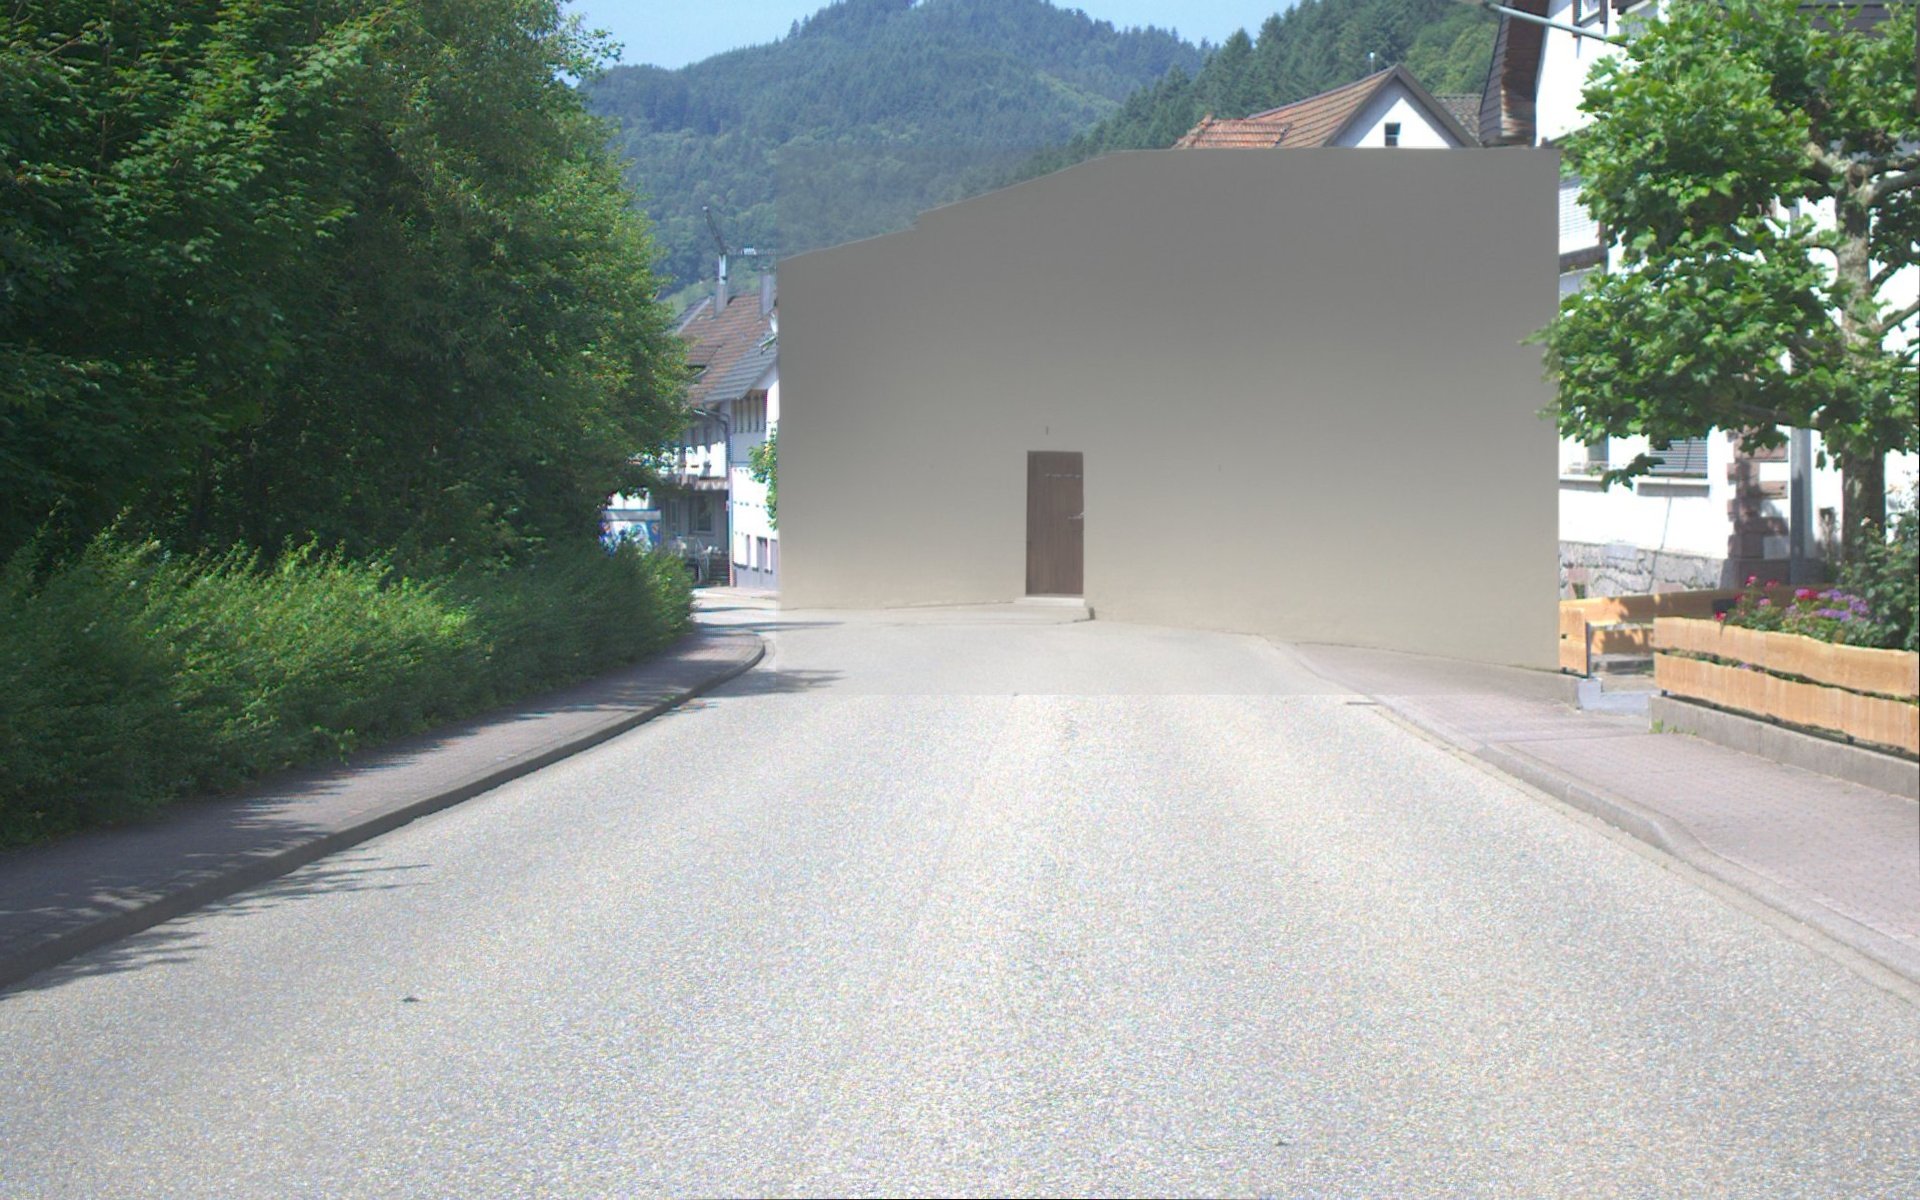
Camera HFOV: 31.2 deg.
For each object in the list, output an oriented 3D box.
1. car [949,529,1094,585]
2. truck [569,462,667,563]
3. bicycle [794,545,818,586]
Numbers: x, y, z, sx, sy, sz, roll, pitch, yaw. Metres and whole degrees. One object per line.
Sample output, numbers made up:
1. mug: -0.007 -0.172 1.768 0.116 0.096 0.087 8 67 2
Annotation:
1. car: 1.720 -1.196 96.284 3.771 1.422 1.607 -1 1 35
2. truck: -14.783 -3.715 147.982 3.362 3.769 8.442 -5 0 -9
3. bicycle: -5.415 -1.212 120.802 0.425 1.391 2.277 -5 2 -10
